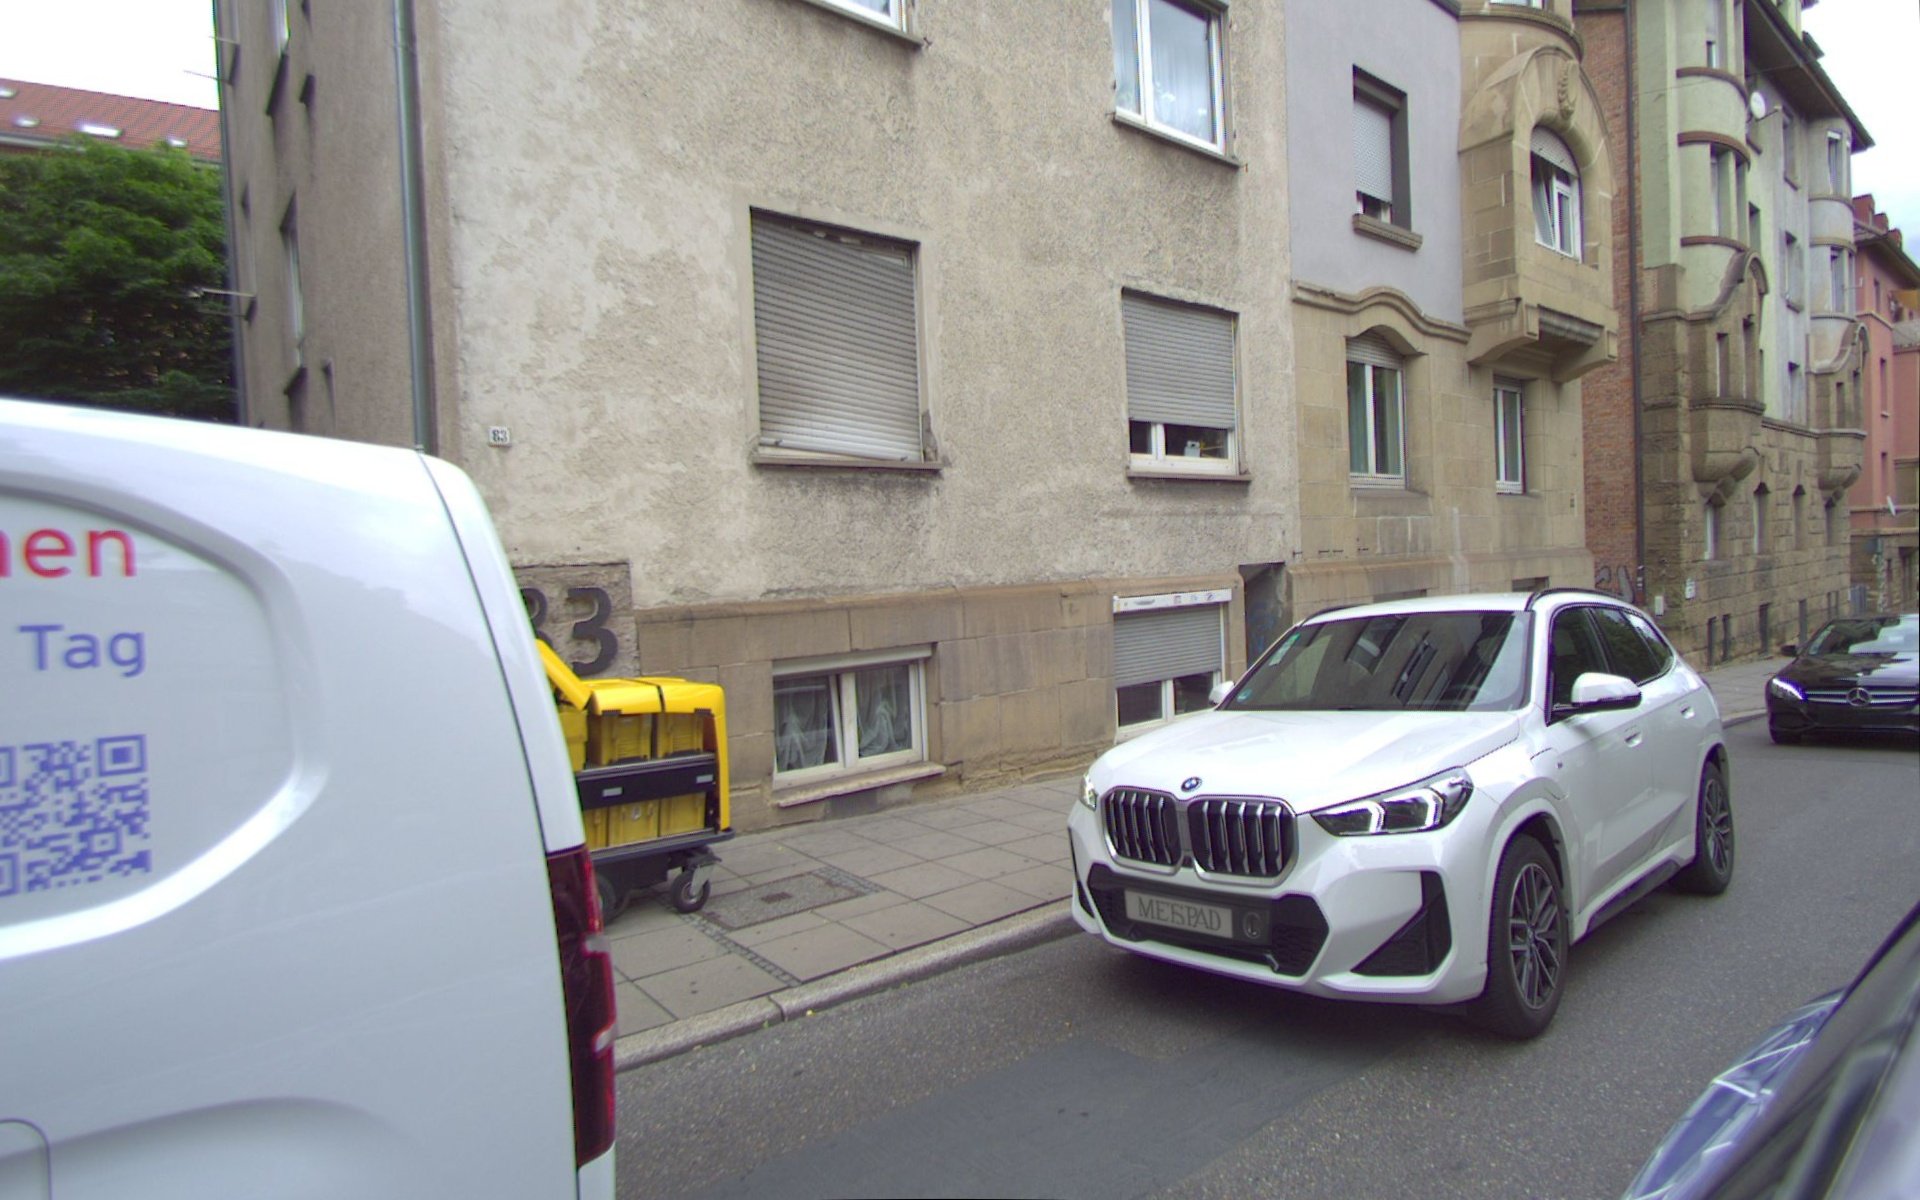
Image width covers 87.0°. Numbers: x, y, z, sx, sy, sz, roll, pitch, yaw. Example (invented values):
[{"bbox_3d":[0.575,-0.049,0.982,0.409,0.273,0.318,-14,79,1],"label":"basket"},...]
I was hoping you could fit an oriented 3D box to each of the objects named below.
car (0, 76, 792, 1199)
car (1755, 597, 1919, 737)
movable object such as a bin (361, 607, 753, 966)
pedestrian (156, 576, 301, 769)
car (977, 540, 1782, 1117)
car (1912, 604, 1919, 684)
[{"bbox_3d":[-2.722,0.590,0.456,4.927,1.848,1.855,-2,0,-36],"label":"car"},{"bbox_3d":[10.926,0.684,11.614,4.203,1.387,1.853,0,-3,-39],"label":"car"},{"bbox_3d":[-1.950,0.785,5.041,1.664,1.438,0.720,-1,1,-42],"label":"movable object such as a bin"},{"bbox_3d":[-6.798,0.640,9.445,0.729,1.681,0.765,-3,2,-6],"label":"pedestrian"},{"bbox_3d":[2.389,0.710,5.069,4.483,1.626,1.851,0,-5,-41],"label":"car"},{"bbox_3d":[18.785,0.705,18.154,4.203,1.387,1.853,0,-3,-39],"label":"car"}]
